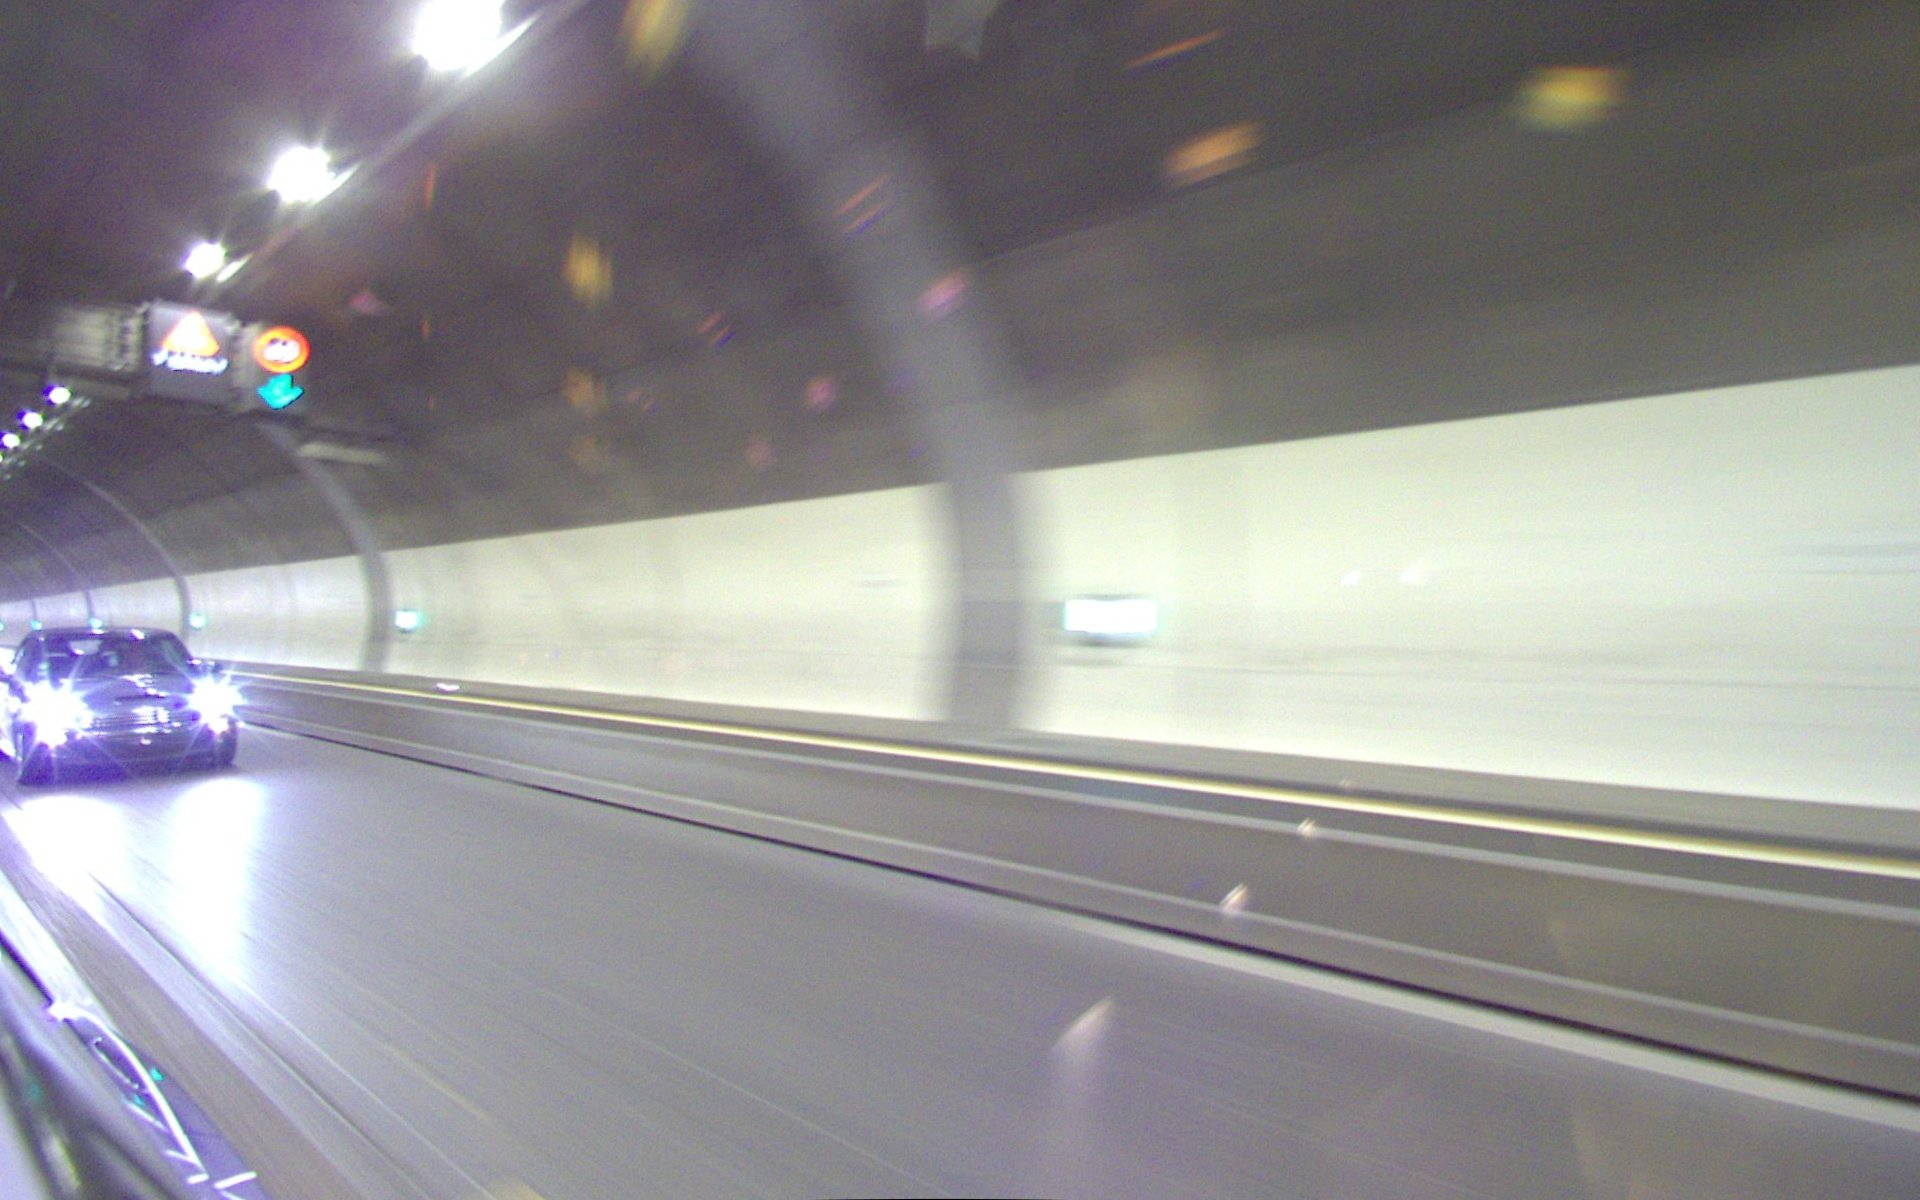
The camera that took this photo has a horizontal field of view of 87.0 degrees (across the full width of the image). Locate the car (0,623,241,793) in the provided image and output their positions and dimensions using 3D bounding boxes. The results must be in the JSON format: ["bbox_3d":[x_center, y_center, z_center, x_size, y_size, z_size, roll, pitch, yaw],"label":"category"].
[{"bbox_3d":[-8.913,0.966,10.458,3.655,1.414,1.635,-1,-1,41],"label":"car"}]
